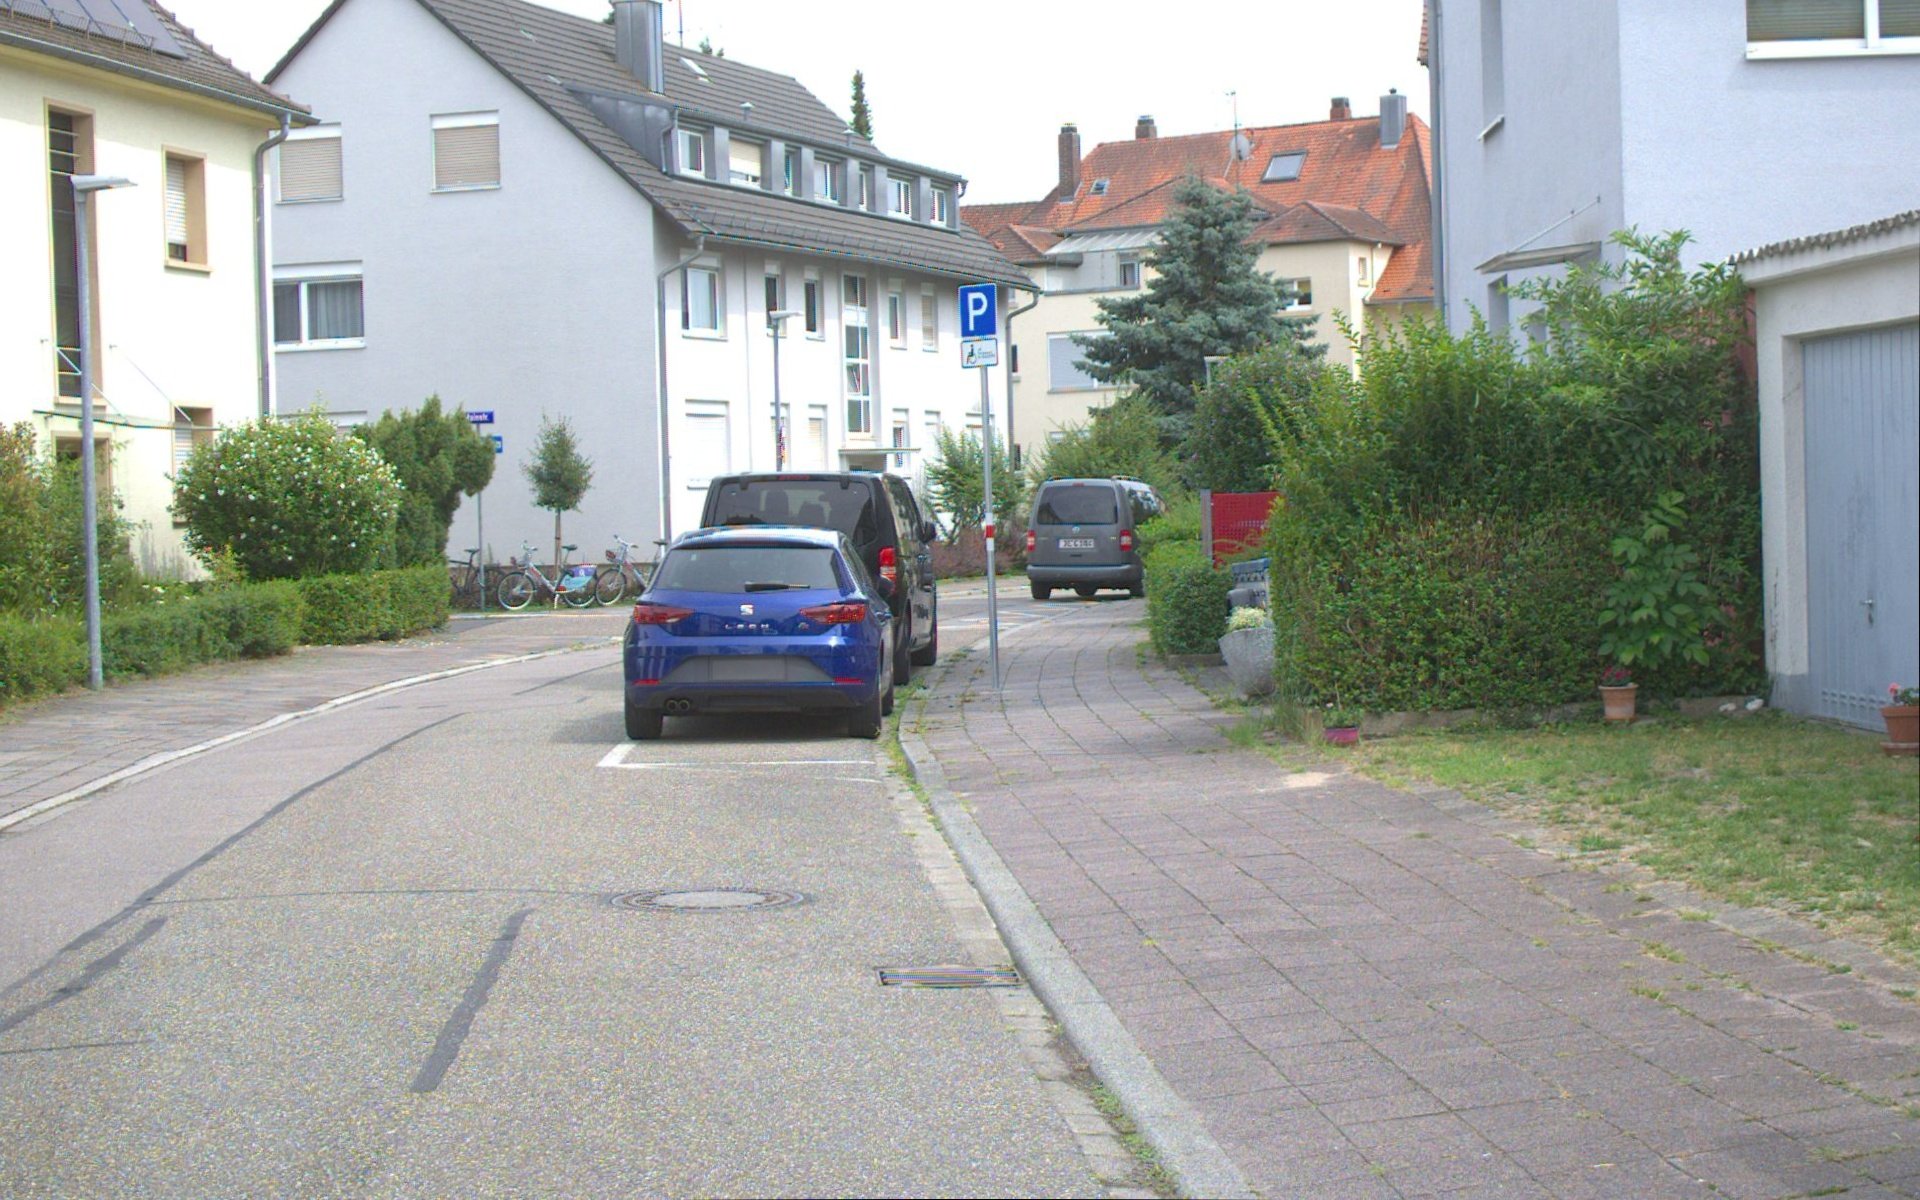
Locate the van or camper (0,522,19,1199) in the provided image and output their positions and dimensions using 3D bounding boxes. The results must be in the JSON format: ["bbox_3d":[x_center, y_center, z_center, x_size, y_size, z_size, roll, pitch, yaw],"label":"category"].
[{"bbox_3d":[-3.072,0.088,3.749,2.404,2.716,6.162,-2,0,-1],"label":"van or camper"}]

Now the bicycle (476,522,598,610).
[{"bbox_3d":[-6.819,-0.544,55.393,1.833,1.368,0.671,-2,0,-15],"label":"bicycle"}]

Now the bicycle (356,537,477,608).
[{"bbox_3d":[-8.722,-0.441,55.151,1.833,1.075,0.671,-2,0,-15],"label":"bicycle"}]

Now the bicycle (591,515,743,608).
[{"bbox_3d":[-4.802,-0.632,56.389,2.345,1.455,0.719,-2,0,-25],"label":"bicycle"}]

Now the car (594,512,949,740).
[{"bbox_3d":[-1.251,0.175,24.503,1.723,1.447,3.999,-2,0,8],"label":"car"}]

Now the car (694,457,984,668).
[{"bbox_3d":[-1.021,-0.317,31.442,1.854,1.736,4.344,-2,0,8],"label":"car"}]

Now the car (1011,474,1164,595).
[{"bbox_3d":[2.013,-0.972,53.137,1.854,1.736,4.344,-2,0,8],"label":"car"}]
